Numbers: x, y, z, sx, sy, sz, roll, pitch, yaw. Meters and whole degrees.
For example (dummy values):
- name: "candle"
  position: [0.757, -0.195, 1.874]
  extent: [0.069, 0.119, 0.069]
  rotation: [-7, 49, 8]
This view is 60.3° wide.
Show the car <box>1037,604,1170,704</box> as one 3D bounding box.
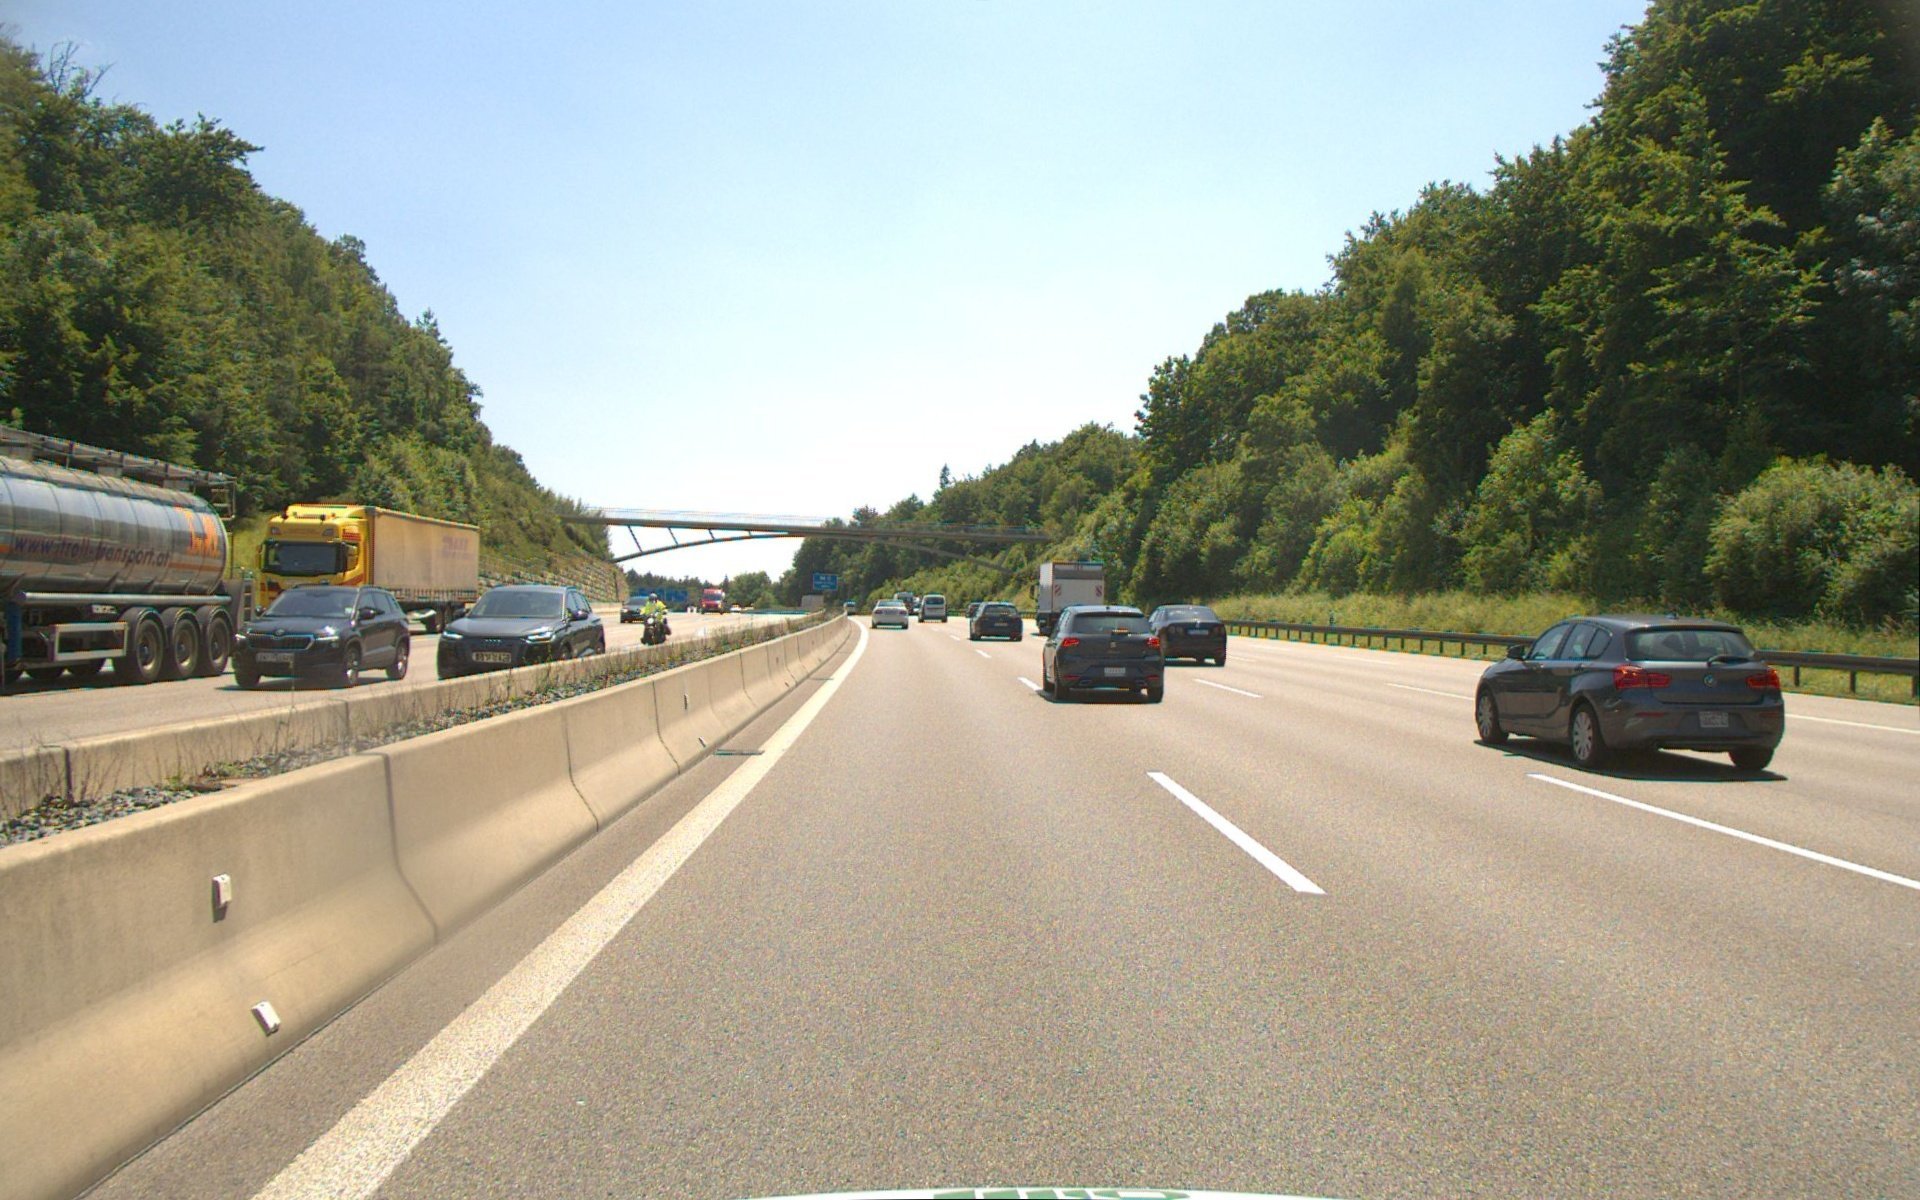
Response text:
- name: "car"
  position: [2.239, 0.811, 26.735]
  extent: [1.673, 1.458, 3.999]
  rotation: [1, 0, -2]

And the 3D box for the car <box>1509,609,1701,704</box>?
- name: "car"
  position: [10.919, 0.898, 28.312]
  extent: [1.513, 1.469, 4.340]
  rotation: [1, 0, -1]

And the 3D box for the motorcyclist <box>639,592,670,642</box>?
- name: "motorcyclist"
  position: [-8.604, 0.468, 46.651]
  extent: [0.713, 1.384, 0.905]
  rotation: [1, 0, -1]

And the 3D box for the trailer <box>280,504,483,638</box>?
- name: "trailer"
  position: [-19.773, -0.892, 57.742]
  extent: [2.668, 4.074, 13.719]
  rotation: [1, 0, -2]

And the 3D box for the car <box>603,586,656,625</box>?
- name: "car"
  position: [-17.600, 0.331, 88.204]
  extent: [1.954, 1.904, 5.248]
  rotation: [2, -1, -3]

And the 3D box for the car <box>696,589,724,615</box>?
- name: "car"
  position: [-23.066, 0.153, 152.758]
  extent: [1.954, 2.377, 5.540]
  rotation: [1, 0, -3]

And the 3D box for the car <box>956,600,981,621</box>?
- name: "car"
  position: [0.798, 0.986, 155.334]
  extent: [2.102, 1.890, 3.998]
  rotation: [2, -1, -2]

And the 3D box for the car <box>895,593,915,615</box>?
- name: "car"
  position: [-6.198, 0.425, 185.697]
  extent: [2.219, 2.413, 4.699]
  rotation: [1, -1, -2]

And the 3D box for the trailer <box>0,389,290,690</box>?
- name: "trailer"
  position: [-13.881, -0.804, 25.480]
  extent: [2.486, 3.948, 11.693]
  rotation: [1, 0, -1]

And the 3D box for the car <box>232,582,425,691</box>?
- name: "car"
  position: [-10.455, 0.562, 27.696]
  extent: [1.685, 1.672, 4.059]
  rotation: [0, 0, 0]

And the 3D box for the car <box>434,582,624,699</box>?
- name: "car"
  position: [-6.940, 0.605, 27.192]
  extent: [1.953, 1.735, 4.951]
  rotation: [0, 0, -2]

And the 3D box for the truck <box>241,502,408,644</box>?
- name: "truck"
  position: [-19.542, -0.777, 51.345]
  extent: [2.695, 4.088, 6.749]
  rotation: [1, 0, -2]

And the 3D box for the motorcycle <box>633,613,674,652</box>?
- name: "motorcycle"
  position: [-8.618, 0.901, 46.632]
  extent: [0.712, 1.031, 2.527]
  rotation: [1, 0, -1]

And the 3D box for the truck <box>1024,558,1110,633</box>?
- name: "truck"
  position: [4.829, -0.199, 76.146]
  extent: [2.927, 3.222, 7.567]
  rotation: [1, 0, -4]

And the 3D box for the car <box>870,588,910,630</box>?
- name: "car"
  position: [-3.567, 0.473, 84.439]
  extent: [1.972, 1.878, 3.997]
  rotation: [1, -3, -2]

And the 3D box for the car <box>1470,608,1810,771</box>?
- name: "car"
  position: [6.633, 0.798, 16.655]
  extent: [1.667, 1.420, 4.153]
  rotation: [1, 0, -1]

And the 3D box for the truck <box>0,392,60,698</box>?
- name: "truck"
  position: [-13.754, -0.732, 19.640]
  extent: [2.480, 4.009, 6.799]
  rotation: [1, 0, -1]

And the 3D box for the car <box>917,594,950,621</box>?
- name: "car"
  position: [-1.814, 0.480, 112.057]
  extent: [2.061, 1.775, 4.685]
  rotation: [1, 0, -3]

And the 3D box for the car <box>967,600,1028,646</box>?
- name: "car"
  position: [1.376, 0.841, 63.004]
  extent: [1.954, 1.662, 4.757]
  rotation: [1, 0, -3]

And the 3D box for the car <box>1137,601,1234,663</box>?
- name: "car"
  position: [5.578, 0.763, 41.474]
  extent: [1.632, 1.433, 4.901]
  rotation: [1, 0, -2]
